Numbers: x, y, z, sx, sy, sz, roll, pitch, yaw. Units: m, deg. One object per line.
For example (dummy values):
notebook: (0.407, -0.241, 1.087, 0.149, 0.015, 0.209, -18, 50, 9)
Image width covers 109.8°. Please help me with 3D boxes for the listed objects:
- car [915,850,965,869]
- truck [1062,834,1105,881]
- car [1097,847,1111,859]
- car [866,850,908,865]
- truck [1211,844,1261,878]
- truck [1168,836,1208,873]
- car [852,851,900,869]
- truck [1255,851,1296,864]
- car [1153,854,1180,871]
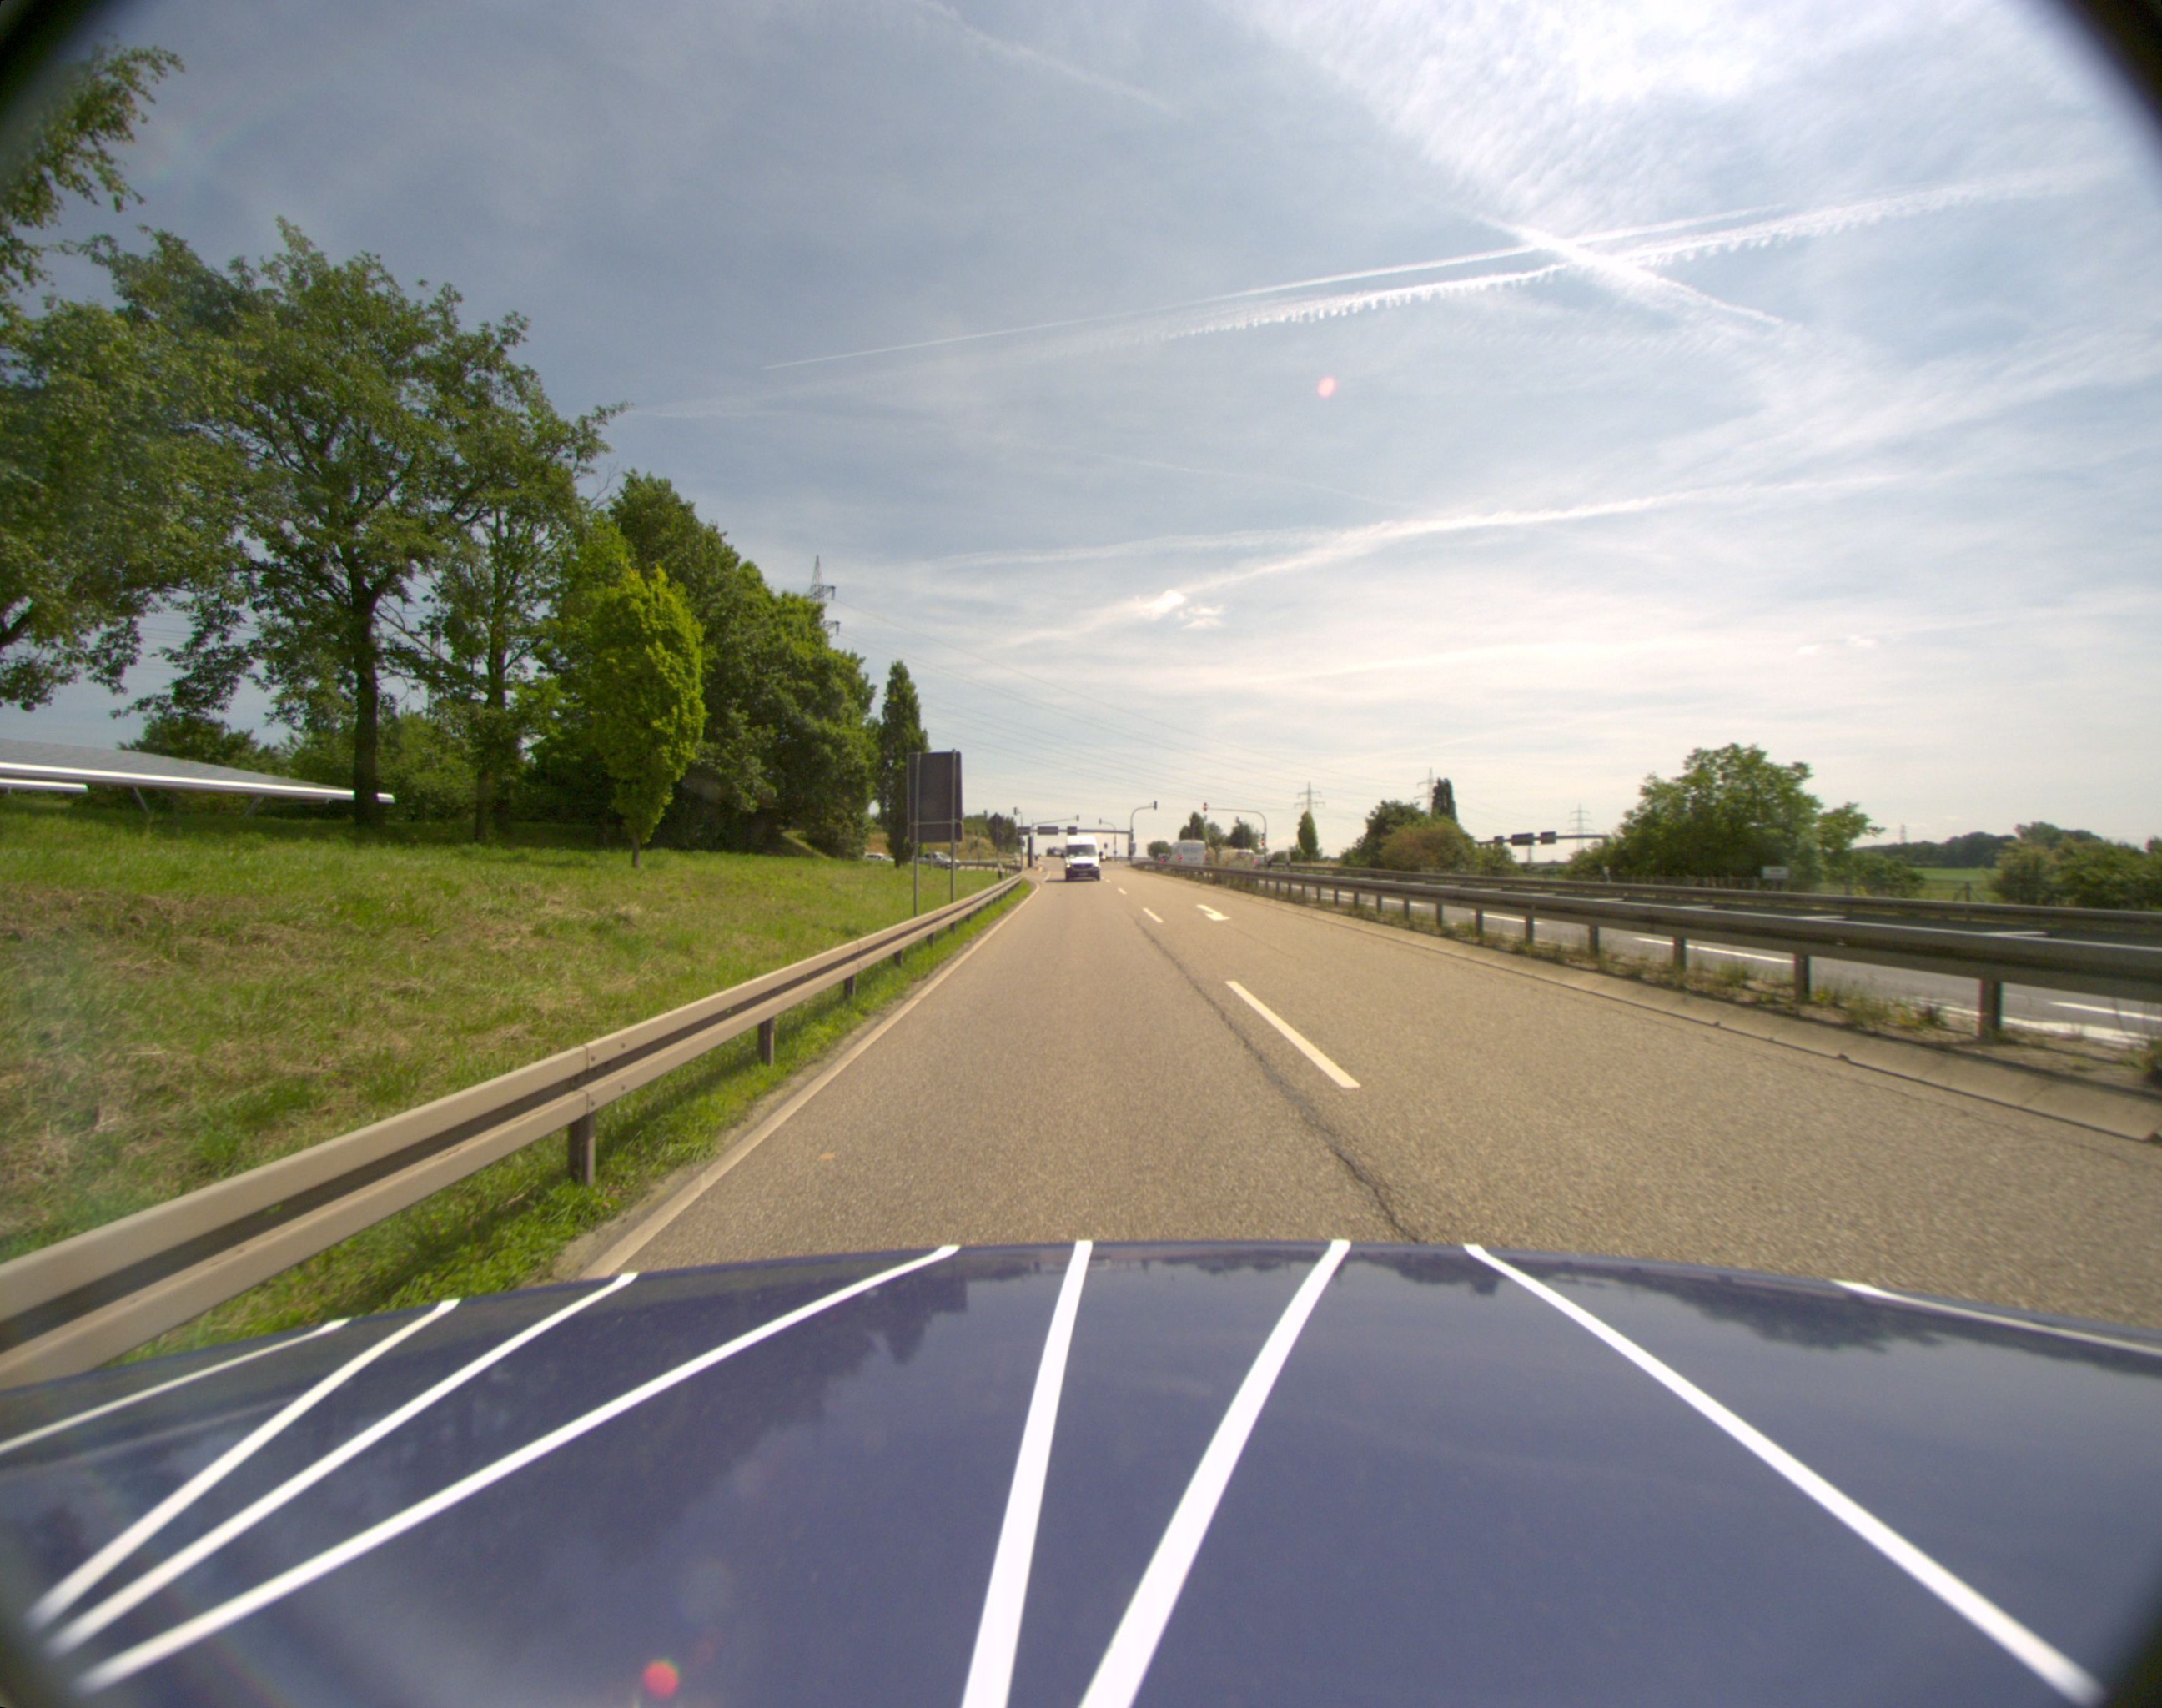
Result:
car: (-12.903, 0.479, 69.610, 4.360, 1.645, 1.840, 0, 1, 31)
truck: (0.093, 0.151, 44.031, 1.999, 2.518, 5.102, -1, 1, -5)
car: (3.679, -0.161, 123.217, 1.772, 1.788, 4.750, -1, 1, -3)
car: (-19.695, 0.345, 77.166, 4.004, 1.502, 1.713, -1, 1, -21)
truck: (8.724, 0.358, 43.147, 1.854, 1.739, 4.536, 2, 1, 0)
truck: (8.160, 0.014, 58.449, 2.046, 2.605, 6.018, 2, 0, -1)
car: (-19.427, 0.554, 72.153, 3.992, 1.591, 1.783, 1, 1, 14)
truck: (27.459, 0.502, 107.401, 5.284, 1.747, 1.997, 1, 1, -12)
car: (7.795, 0.743, 69.353, 1.760, 1.460, 4.194, 0, 0, -3)
